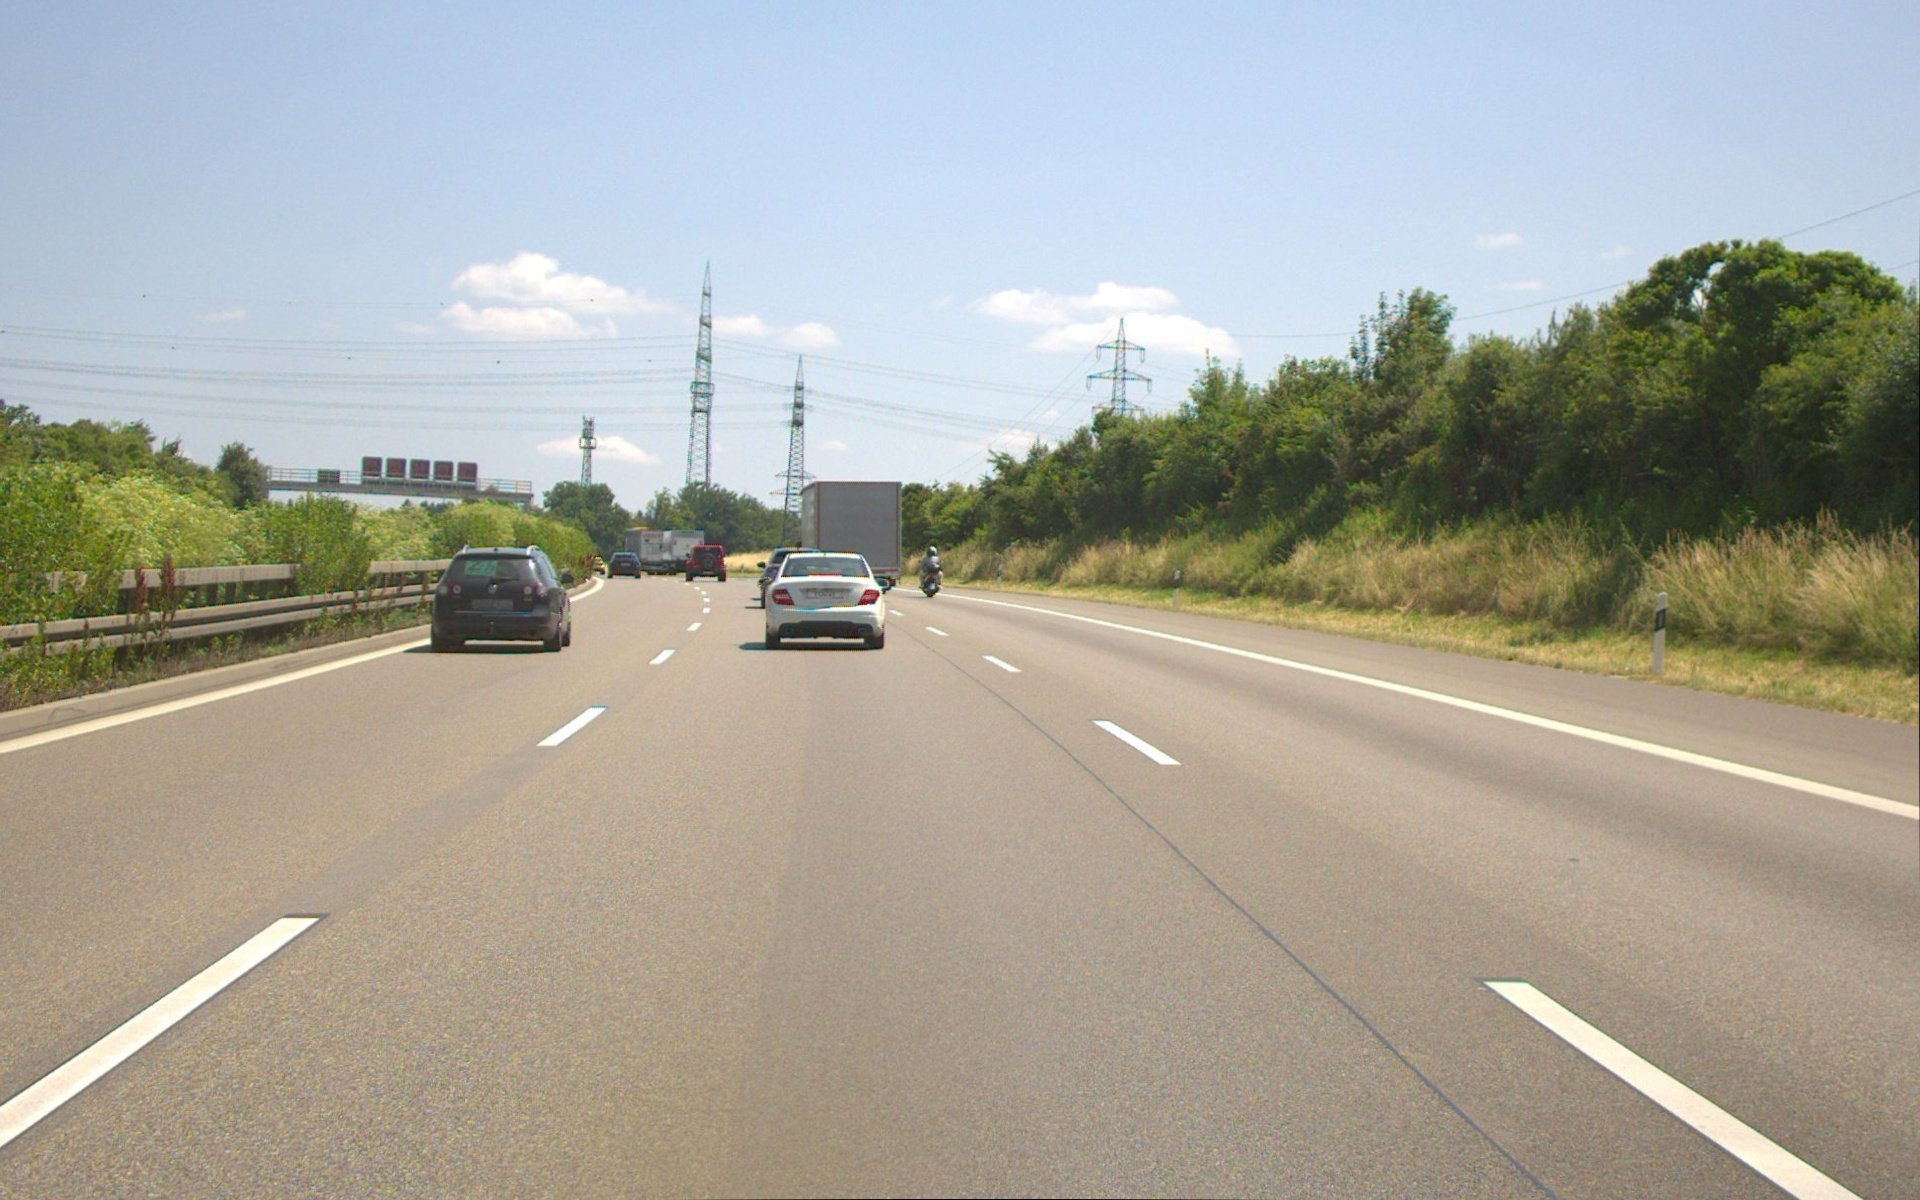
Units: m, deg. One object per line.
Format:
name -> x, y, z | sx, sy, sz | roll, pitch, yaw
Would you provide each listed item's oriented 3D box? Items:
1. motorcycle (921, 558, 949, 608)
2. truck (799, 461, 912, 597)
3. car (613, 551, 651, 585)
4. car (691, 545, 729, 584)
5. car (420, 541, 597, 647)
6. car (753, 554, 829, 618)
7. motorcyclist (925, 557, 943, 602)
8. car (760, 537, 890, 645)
motorcycle -> -0.817, -0.567, 112.827 | 0.809, 1.602, 1.782 | 1, 0, -3
truck -> -3.209, -2.105, 104.511 | 3.221, 3.911, 9.061 | 1, 0, -2
car -> -18.352, -1.820, 192.527 | 1.993, 1.853, 4.001 | 1, 1, -4
car -> -12.574, -1.777, 172.690 | 1.901, 1.919, 4.001 | 0, 1, -5
car -> -6.353, -0.116, 48.733 | 1.756, 1.424, 4.000 | 1, 1, 3
car -> -4.229, -0.363, 86.502 | 1.838, 1.535, 3.915 | 0, 1, -2
motorcyclist -> -0.852, -0.680, 112.738 | 0.572, 1.474, 0.700 | 0, 1, -2
car -> -2.061, -0.165, 51.534 | 1.819, 1.535, 3.915 | 0, 1, -4
